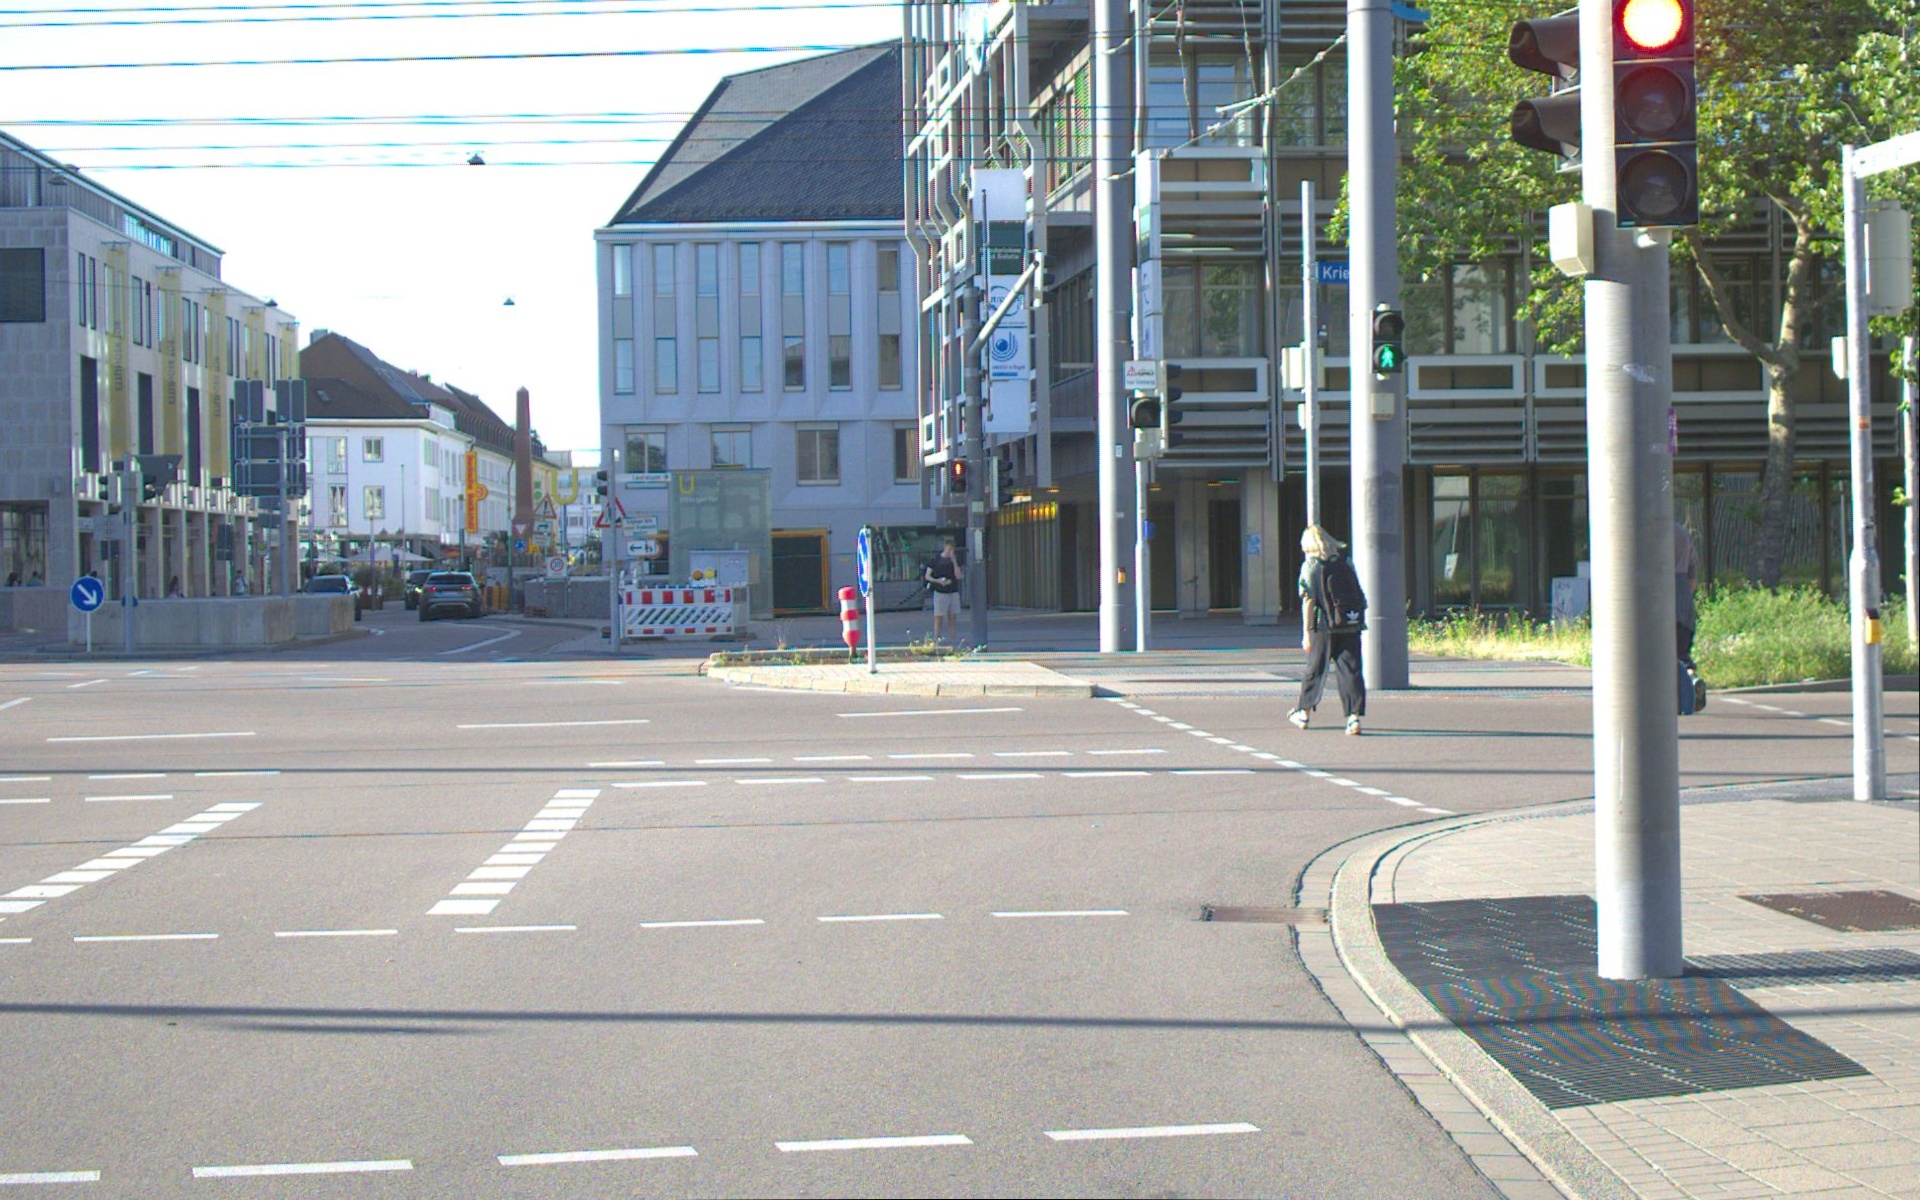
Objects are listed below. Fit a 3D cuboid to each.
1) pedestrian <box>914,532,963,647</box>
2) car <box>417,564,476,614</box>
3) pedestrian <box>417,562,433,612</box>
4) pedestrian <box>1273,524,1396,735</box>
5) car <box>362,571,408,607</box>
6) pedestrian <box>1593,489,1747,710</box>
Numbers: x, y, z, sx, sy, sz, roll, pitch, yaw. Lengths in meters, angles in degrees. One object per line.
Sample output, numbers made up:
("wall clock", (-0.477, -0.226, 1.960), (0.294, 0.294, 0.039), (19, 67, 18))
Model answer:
("pedestrian", (-0.367, -0.176, 57.314), (0.788, 1.883, 0.644), (1, 0, -1))
("car", (-16.143, -0.371, 108.208), (1.737, 1.525, 3.856), (1, 1, -7))
("pedestrian", (-18.269, -0.437, 117.359), (0.521, 1.674, 0.583), (1, 1, -7))
("pedestrian", (2.687, 0.208, 24.747), (0.788, 1.487, 0.644), (1, 0, -1))
("car", (-27.292, -0.542, 163.248), (1.797, 1.652, 4.001), (1, 1, -4))
("pedestrian", (5.469, -0.007, 26.514), (0.878, 1.659, 0.965), (1, 0, -7))
